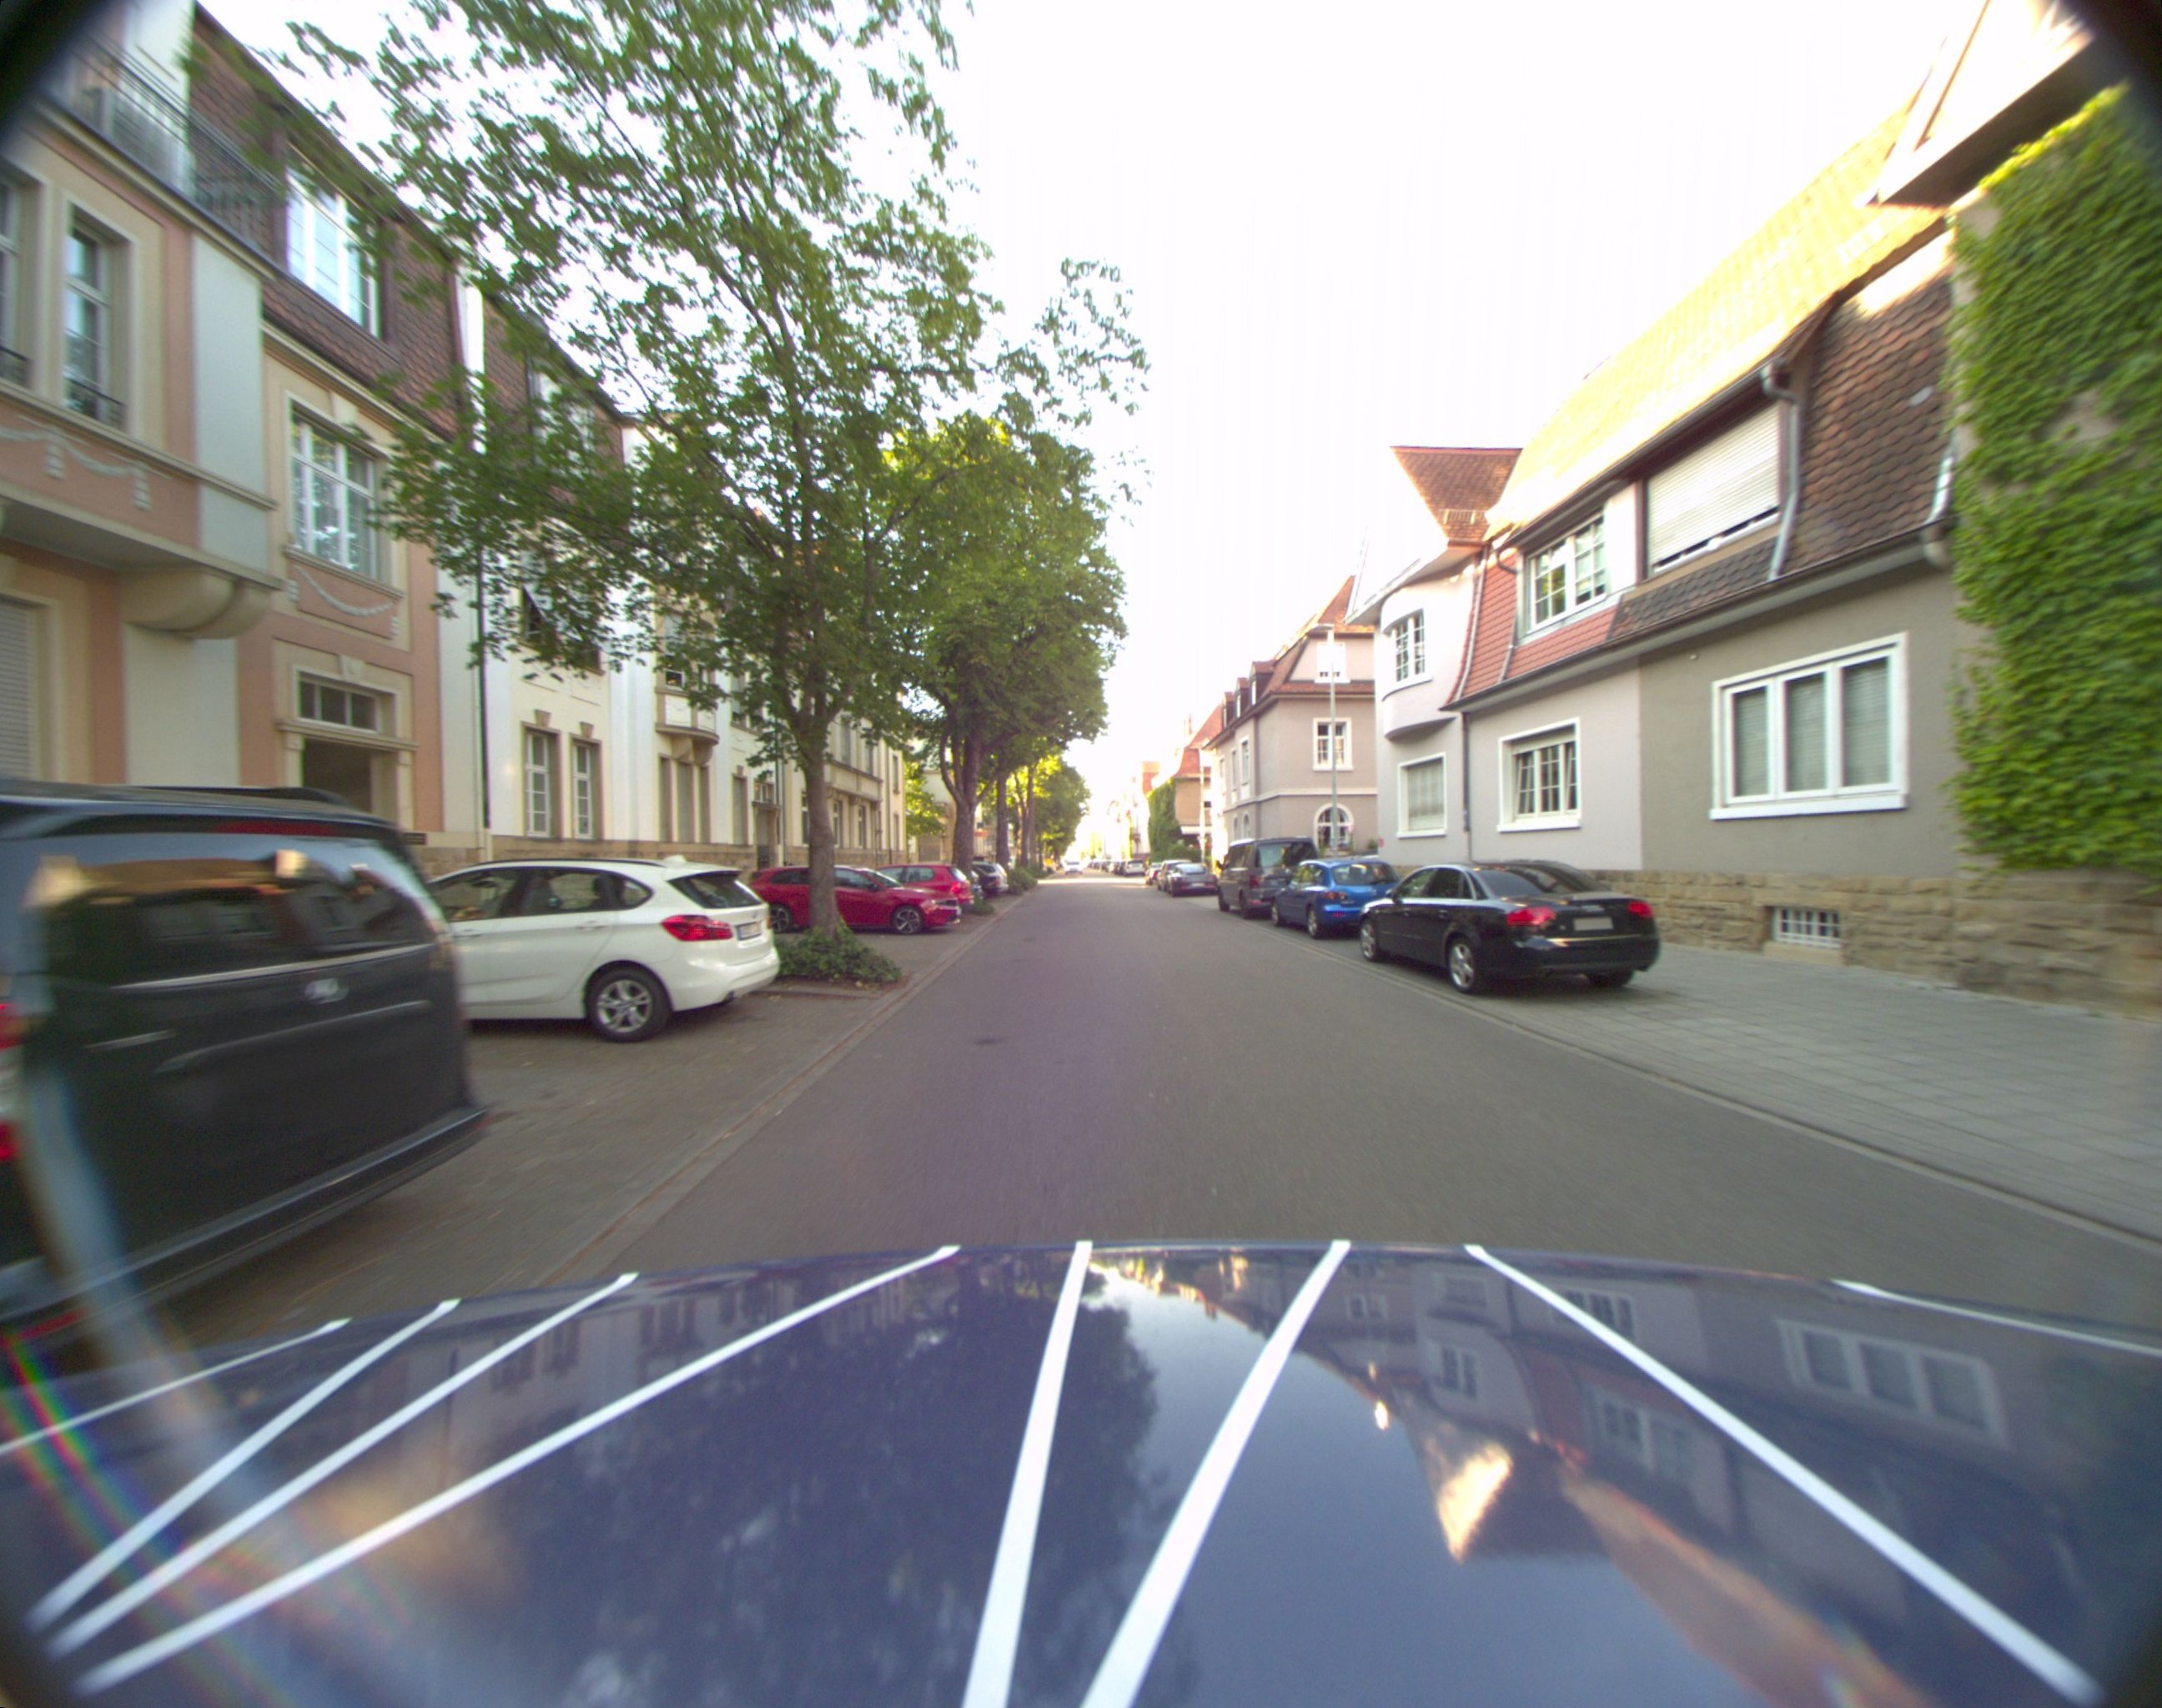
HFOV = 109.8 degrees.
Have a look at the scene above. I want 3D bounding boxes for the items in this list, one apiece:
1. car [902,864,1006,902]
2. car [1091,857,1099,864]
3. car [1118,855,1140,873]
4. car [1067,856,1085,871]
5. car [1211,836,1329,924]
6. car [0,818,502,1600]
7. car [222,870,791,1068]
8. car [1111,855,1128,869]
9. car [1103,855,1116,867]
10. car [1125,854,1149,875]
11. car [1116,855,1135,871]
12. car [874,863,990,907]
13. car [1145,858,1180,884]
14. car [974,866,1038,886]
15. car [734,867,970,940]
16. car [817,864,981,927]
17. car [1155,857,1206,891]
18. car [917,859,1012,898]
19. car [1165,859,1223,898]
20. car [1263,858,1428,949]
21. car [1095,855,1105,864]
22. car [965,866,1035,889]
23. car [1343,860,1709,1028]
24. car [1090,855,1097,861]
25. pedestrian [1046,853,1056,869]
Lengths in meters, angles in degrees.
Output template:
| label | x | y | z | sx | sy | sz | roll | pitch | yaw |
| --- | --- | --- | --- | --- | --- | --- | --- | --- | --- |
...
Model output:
| label | x | y | z | sx | sy | sz | roll | pitch | yaw |
| --- | --- | --- | --- | --- | --- | --- | --- | --- | --- |
| car | -4.765 | 1.068 | 28.813 | 3.680 | 1.390 | 1.576 | 0 | 0 | 1 |
| car | 3.140 | 1.451 | 167.951 | 1.699 | 1.520 | 3.677 | -3 | 0 | 1 |
| car | 4.386 | 0.873 | 69.938 | 1.699 | 1.520 | 3.677 | -3 | 0 | 1 |
| car | -0.467 | 1.021 | 81.261 | 1.819 | 1.454 | 4.072 | -2 | 0 | 0 |
| car | 4.806 | 0.618 | 20.020 | 1.842 | 1.963 | 4.612 | -3 | 0 | 0 |
| car | -4.611 | 0.832 | 2.376 | 4.121 | 1.826 | 1.844 | 0 | 0 | -2 |
| car | -5.013 | 0.957 | 7.072 | 3.950 | 1.568 | 1.719 | 0 | 0 | -1 |
| car | 4.294 | 0.869 | 85.680 | 1.699 | 1.520 | 3.677 | -3 | 0 | 1 |
| car | 4.105 | 1.004 | 110.530 | 1.699 | 1.520 | 3.677 | -3 | 0 | 1 |
| car | 4.561 | 0.834 | 62.674 | 1.699 | 1.558 | 3.677 | -3 | 0 | 1 |
| car | 4.420 | 0.868 | 75.431 | 1.699 | 1.520 | 3.677 | -3 | 0 | 1 |
| car | -5.095 | 1.039 | 26.252 | 3.680 | 1.457 | 1.576 | 0 | 0 | 1 |
| car | 4.794 | 0.982 | 45.050 | 1.662 | 1.354 | 3.677 | -3 | 0 | 1 |
| car | -4.127 | 1.209 | 42.197 | 3.399 | 1.057 | 1.542 | 0 | 0 | 1 |
| car | -4.831 | 1.032 | 16.489 | 4.531 | 1.443 | 1.868 | 0 | 0 | 2 |
| car | -4.467 | 1.008 | 19.015 | 3.680 | 1.473 | 1.659 | 0 | 0 | 2 |
| car | 4.739 | 0.934 | 36.809 | 1.932 | 1.458 | 4.062 | -3 | 0 | 1 |
| car | -4.761 | 1.003 | 31.387 | 3.680 | 1.548 | 1.576 | 0 | 0 | 1 |
| car | 4.583 | 0.971 | 31.329 | 1.932 | 1.376 | 4.063 | -3 | 0 | 3 |
| car | 5.002 | 0.860 | 15.008 | 1.768 | 1.438 | 4.062 | -3 | 0 | 0 |
| car | 3.572 | 1.010 | 144.070 | 1.699 | 1.520 | 3.677 | -3 | 0 | 1 |
| car | -4.137 | 1.184 | 38.990 | 3.399 | 1.143 | 1.542 | 0 | 0 | 1 |
| car | 4.916 | 0.857 | 9.289 | 1.806 | 1.438 | 4.428 | -3 | 0 | 0 |
| car | 3.336 | 0.944 | 197.342 | 1.699 | 1.520 | 3.677 | -3 | 0 | 1 |
| pedestrian | -3.612 | 0.861 | 92.811 | 1.119 | 1.926 | 1.097 | -3 | 0 | -1 |
